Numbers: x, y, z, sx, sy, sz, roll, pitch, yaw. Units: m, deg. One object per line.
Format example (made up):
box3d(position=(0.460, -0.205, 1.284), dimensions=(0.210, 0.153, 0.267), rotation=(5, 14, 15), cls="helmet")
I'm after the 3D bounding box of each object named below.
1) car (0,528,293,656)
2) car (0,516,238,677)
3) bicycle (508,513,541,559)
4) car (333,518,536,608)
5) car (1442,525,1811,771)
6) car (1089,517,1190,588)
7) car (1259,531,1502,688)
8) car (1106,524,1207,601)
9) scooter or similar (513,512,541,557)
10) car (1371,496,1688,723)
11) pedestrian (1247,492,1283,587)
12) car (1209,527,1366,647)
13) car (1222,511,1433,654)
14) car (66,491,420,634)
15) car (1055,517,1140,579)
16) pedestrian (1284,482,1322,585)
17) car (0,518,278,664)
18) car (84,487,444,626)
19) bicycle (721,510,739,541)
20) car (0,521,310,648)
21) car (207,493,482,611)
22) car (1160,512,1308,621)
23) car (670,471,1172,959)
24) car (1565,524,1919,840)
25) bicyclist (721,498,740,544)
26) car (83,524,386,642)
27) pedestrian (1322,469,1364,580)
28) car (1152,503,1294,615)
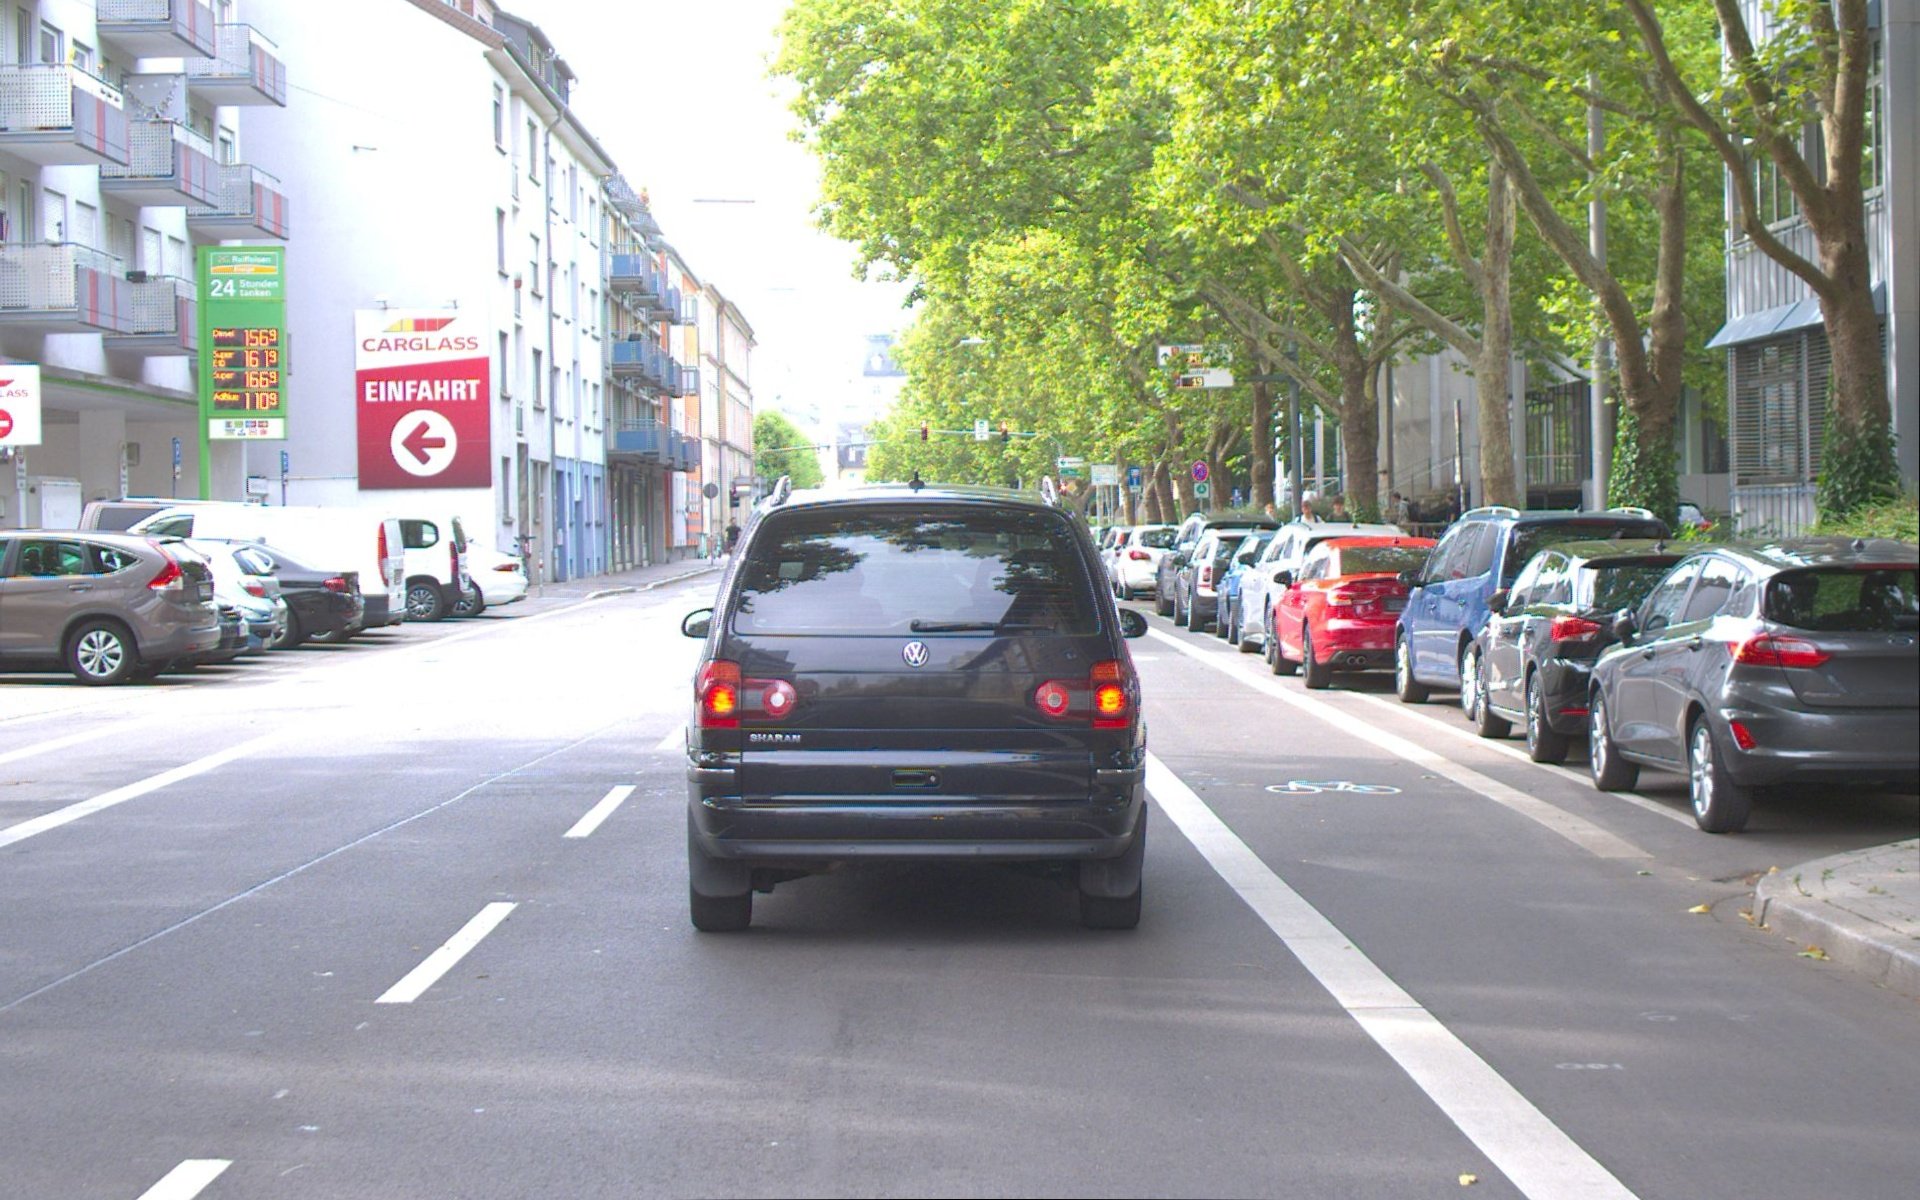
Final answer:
box3d(position=(-10.095, -0.112, 41.709), dimensions=(3.682, 1.421, 1.753), rotation=(1, 2, -1), cls="car")
box3d(position=(-10.129, -0.068, 37.095), dimensions=(4.256, 1.600, 1.968), rotation=(1, 3, 0), cls="car")
box3d(position=(-10.015, -1.483, 79.050), dimensions=(0.631, 1.030, 2.016), rotation=(1, 1, -4), cls="bicycle")
box3d(position=(-9.167, -0.652, 60.166), dimensions=(3.342, 1.491, 1.596), rotation=(1, 1, -2), cls="car")
box3d(position=(4.424, 0.253, 23.347), dimensions=(1.657, 1.417, 3.947), rotation=(-1, 2, -1), cls="car")
box3d(position=(3.726, -1.009, 71.764), dimensions=(1.641, 1.408, 3.417), rotation=(1, 2, -4), cls="car")
box3d(position=(3.997, 0.041, 33.305), dimensions=(1.675, 1.389, 4.461), rotation=(0, 1, -2), cls="car")
box3d(position=(3.814, -0.759, 67.428), dimensions=(1.675, 1.389, 4.461), rotation=(1, 2, 0), cls="car")
box3d(position=(-10.234, -1.551, 81.297), dimensions=(0.631, 1.030, 2.016), rotation=(-1, 2, -7), cls="scooter or similar")
box3d(position=(4.595, 0.009, 28.345), dimensions=(1.657, 1.645, 4.421), rotation=(1, 2, -3), cls="car")
box3d(position=(5.514, -1.100, 62.121), dimensions=(0.587, 1.696, 0.508), rotation=(1, 3, 1), cls="pedestrian")
box3d(position=(4.159, -0.201, 44.141), dimensions=(1.622, 1.381, 4.000), rotation=(2, 2, 1), cls="car")
box3d(position=(4.088, -0.241, 38.958), dimensions=(1.727, 1.511, 4.872), rotation=(0, 1, -2), cls="car")
box3d(position=(-10.064, -0.542, 48.489), dimensions=(4.526, 1.872, 2.047), rotation=(1, 2, 0), cls="car")
box3d(position=(3.321, -1.280, 83.303), dimensions=(1.641, 1.408, 3.417), rotation=(1, 2, -4), cls="car")
box3d(position=(6.201, -1.215, 62.188), dimensions=(0.587, 1.832, 0.692), rotation=(1, 3, 1), cls="pedestrian")
box3d(position=(-10.045, -0.131, 39.704), dimensions=(3.941, 1.564, 1.753), rotation=(1, 2, 2), cls="car")
box3d(position=(-10.280, -0.664, 51.058), dimensions=(4.916, 1.896, 2.000), rotation=(2, 1, -1), cls="car")
box3d(position=(-8.225, -2.653, 123.100), dimensions=(0.631, 1.030, 2.015), rotation=(0, -1, -3), cls="bicycle")
box3d(position=(-10.294, -0.211, 43.825), dimensions=(3.682, 1.480, 1.754), rotation=(1, 2, -1), cls="car")
box3d(position=(-10.290, -0.816, 57.695), dimensions=(4.307, 1.863, 1.824), rotation=(1, 1, -2), cls="car")
box3d(position=(3.864, -0.510, 49.030), dimensions=(1.630, 1.465, 4.318), rotation=(0, 1, -2), cls="car")
box3d(position=(-0.190, 0.371, 14.272), dimensions=(1.812, 1.760, 3.738), rotation=(0, 1, -2), cls="car")
box3d(position=(4.469, 0.352, 18.510), dimensions=(1.657, 1.417, 3.867), rotation=(-1, 2, -1), cls="car")
box3d(position=(-8.238, -2.836, 123.266), dimensions=(0.653, 1.606, 0.656), rotation=(0, -1, -3), cls="bicyclist")
box3d(position=(-9.653, -0.246, 45.920), dimensions=(3.682, 1.439, 1.753), rotation=(1, 2, -1), cls="car")
box3d(position=(6.868, -1.360, 61.687), dimensions=(0.643, 1.968, 0.692), rotation=(1, 3, 1), cls="pedestrian")
box3d(position=(4.096, -0.679, 54.139), dimensions=(1.668, 1.635, 4.504), rotation=(2, 2, -2), cls="car")
